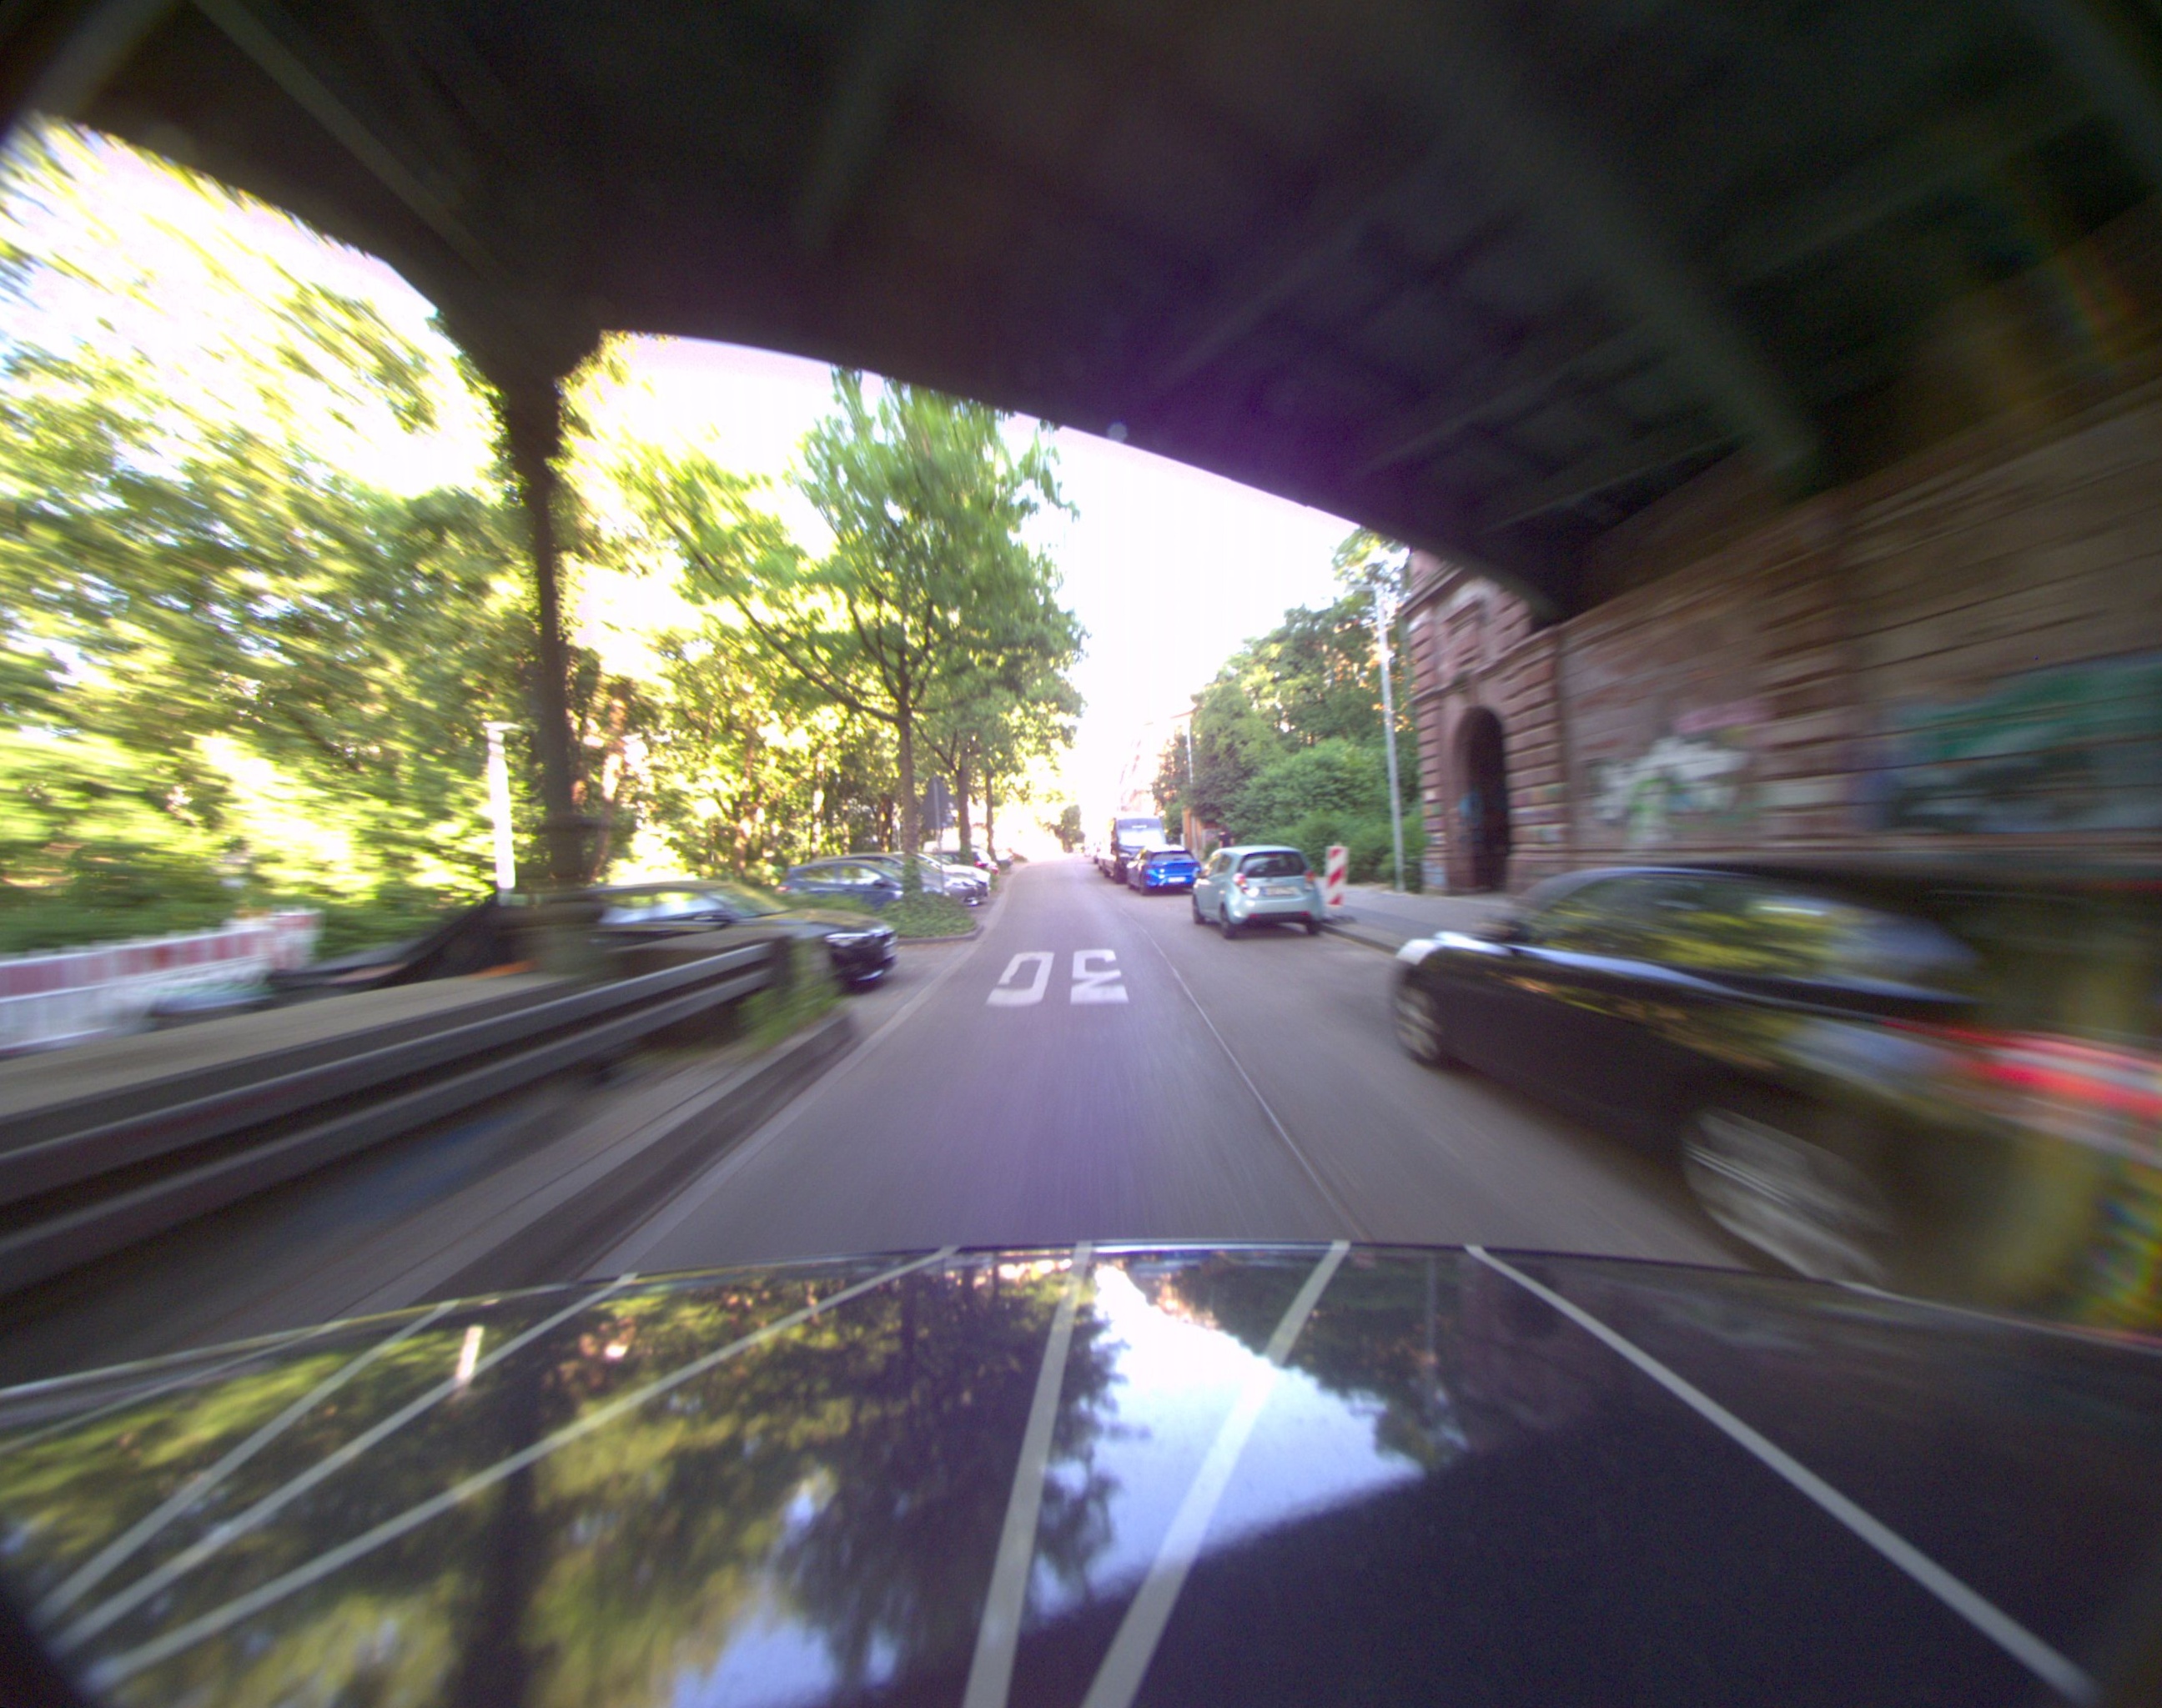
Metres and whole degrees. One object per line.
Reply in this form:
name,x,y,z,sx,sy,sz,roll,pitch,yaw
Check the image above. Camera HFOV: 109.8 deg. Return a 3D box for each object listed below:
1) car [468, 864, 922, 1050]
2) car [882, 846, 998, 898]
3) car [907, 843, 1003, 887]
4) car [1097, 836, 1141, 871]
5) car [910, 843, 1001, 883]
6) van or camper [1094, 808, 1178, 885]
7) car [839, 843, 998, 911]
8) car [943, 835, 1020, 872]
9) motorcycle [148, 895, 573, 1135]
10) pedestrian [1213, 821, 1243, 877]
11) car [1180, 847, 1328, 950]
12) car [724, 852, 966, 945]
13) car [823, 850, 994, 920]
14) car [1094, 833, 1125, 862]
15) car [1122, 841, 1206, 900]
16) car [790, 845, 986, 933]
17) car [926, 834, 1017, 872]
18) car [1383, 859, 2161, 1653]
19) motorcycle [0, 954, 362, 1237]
car,-4.307,1.114,9.036,4.386,1.569,1.673,-5,2,-2
car,-5.312,0.640,28.921,4.031,1.565,1.586,-5,2,-2
car,-5.618,0.469,34.221,3.998,1.565,1.586,-5,2,-2
car,1.748,-0.075,36.200,1.704,1.499,4.226,-2,2,-2
car,-6.009,0.409,36.703,3.996,1.565,1.665,-5,2,2
van or camper,1.995,-0.374,29.846,2.242,2.509,6.417,-5,2,-4
car,-5.080,0.684,24.258,4.544,1.686,1.906,-5,2,-2
car,-5.737,-0.037,44.077,3.996,1.748,1.798,-4,2,4
motorcycle,-4.966,1.040,5.492,1.938,1.231,0.903,-6,3,-25
pedestrian,5.219,-0.198,27.031,0.639,1.904,1.046,-5,3,-7
car,3.012,0.686,14.016,1.599,1.538,3.913,-2,1,-3
car,-5.013,0.928,16.533,4.597,1.597,1.734,-3,2,3
car,-4.807,0.838,21.704,4.386,1.524,1.875,-5,2,-2
car,1.617,-0.412,44.073,1.703,1.489,4.548,-2,2,1
car,2.477,0.431,23.706,1.749,1.458,4.372,-5,2,-4
car,-4.731,0.821,19.191,4.387,1.699,1.905,-5,2,-4
car,-5.911,-0.085,41.481,4.684,1.914,1.871,-1,2,-2
car,3.047,0.836,3.466,1.721,1.456,3.999,-3,1,0
motorcycle,-4.923,1.185,3.805,1.728,1.024,0.810,-6,3,-34
